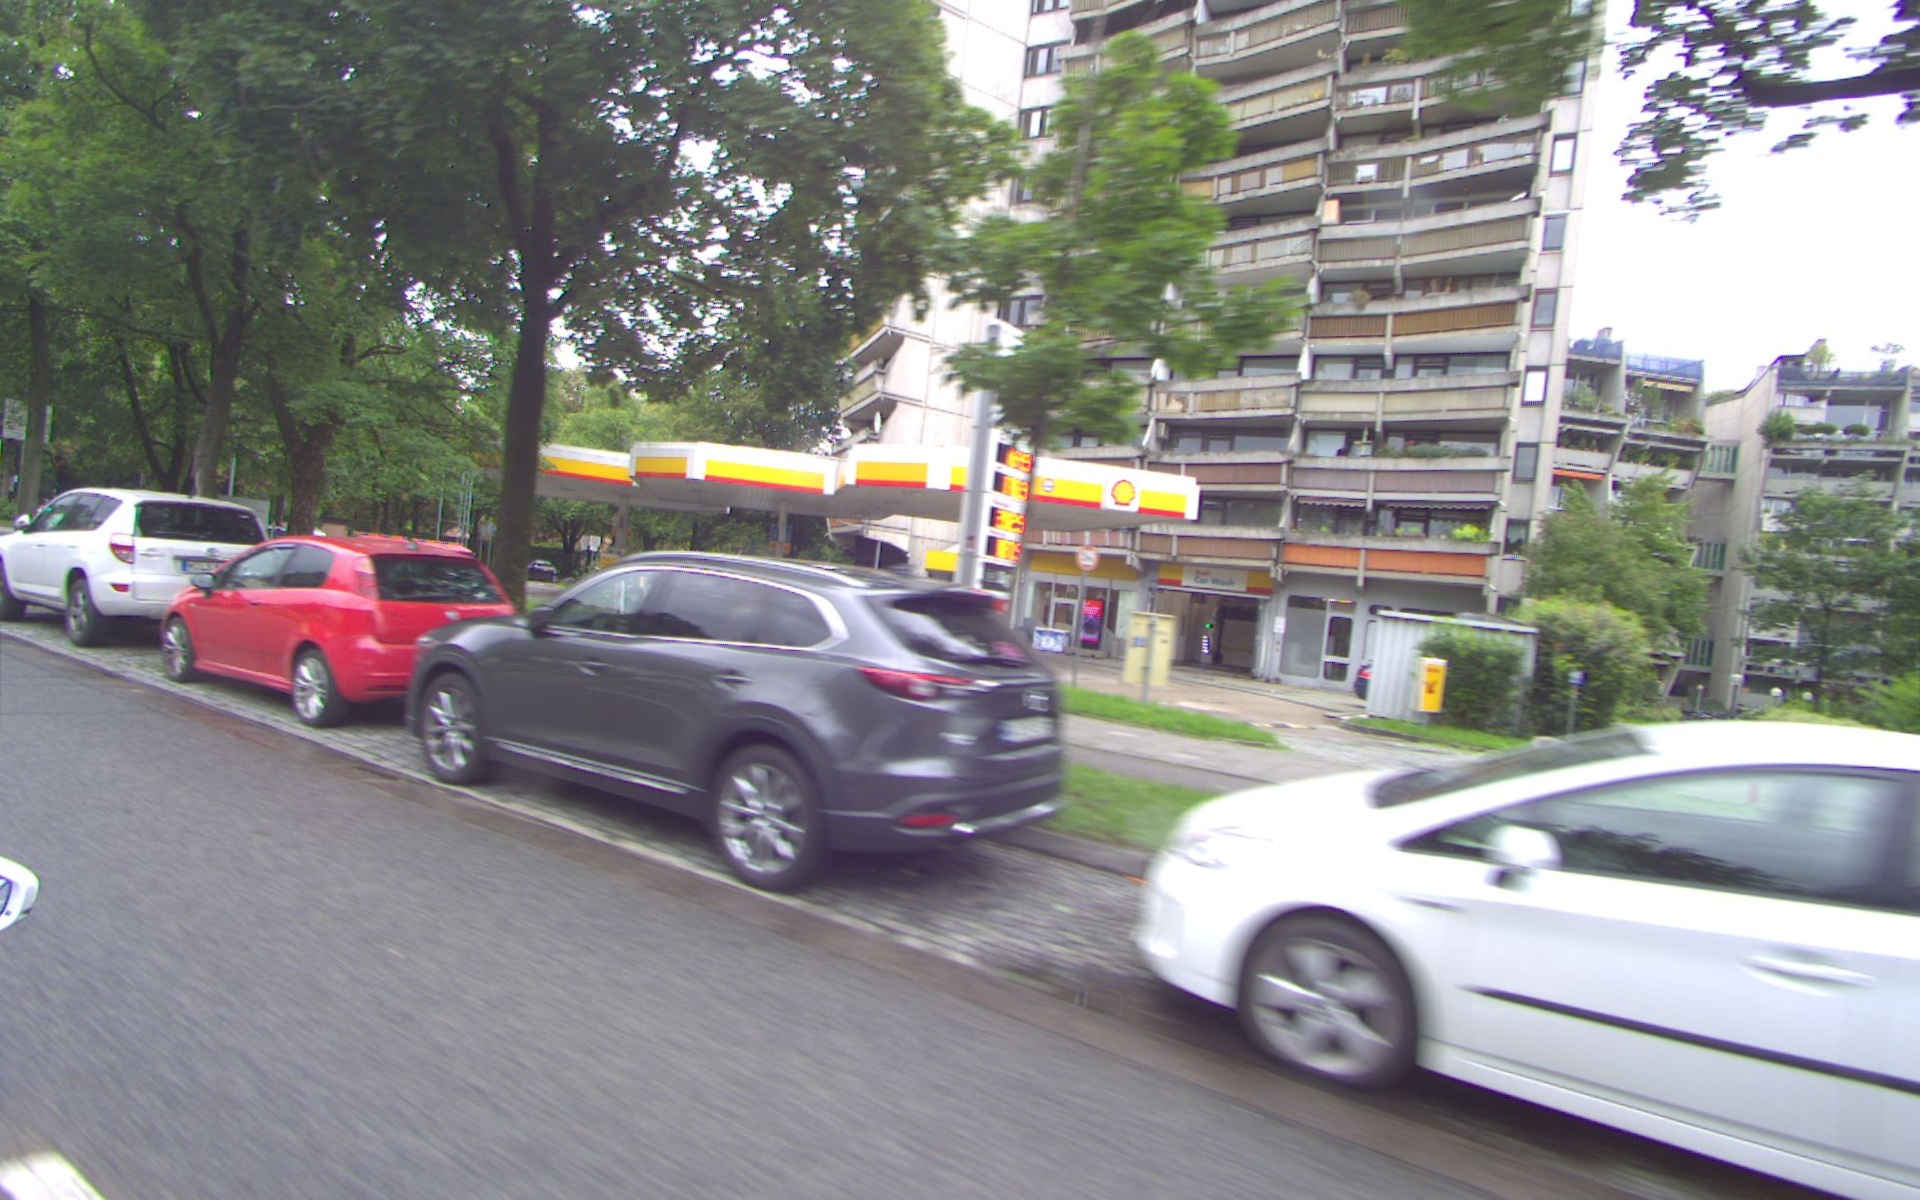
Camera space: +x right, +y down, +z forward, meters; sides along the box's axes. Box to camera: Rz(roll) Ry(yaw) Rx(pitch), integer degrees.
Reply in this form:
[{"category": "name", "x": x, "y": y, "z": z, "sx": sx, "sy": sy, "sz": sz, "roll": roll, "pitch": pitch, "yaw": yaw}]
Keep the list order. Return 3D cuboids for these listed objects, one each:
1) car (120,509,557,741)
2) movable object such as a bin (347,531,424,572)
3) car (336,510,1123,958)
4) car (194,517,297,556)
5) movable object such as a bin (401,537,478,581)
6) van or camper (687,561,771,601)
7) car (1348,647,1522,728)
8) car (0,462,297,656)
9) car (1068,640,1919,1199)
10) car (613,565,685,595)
[{"category": "car", "x": -5.850, "y": 0.127, "z": 9.351, "sx": 4.074, "sy": 1.527, "sz": 1.761, "roll": 7, "pitch": 2, "yaw": 31}, {"category": "movable object such as a bin", "x": -22.538, "y": -1.898, "z": 39.479, "sx": 1.506, "sy": 1.278, "sz": 2.062, "roll": 7, "pitch": 0, "yaw": 32}, {"category": "car", "x": -1.746, "y": 0.510, "z": 6.553, "sx": 5.143, "sy": 1.721, "sz": 1.761, "roll": 7, "pitch": 2, "yaw": 32}, {"category": "car", "x": -36.013, "y": -3.203, "z": 50.752, "sx": 1.903, "sy": 1.633, "sz": 3.871, "roll": 8, "pitch": 5, "yaw": 38}, {"category": "movable object such as a bin", "x": -21.398, "y": -1.682, "z": 41.388, "sx": 1.807, "sy": 1.505, "sz": 2.063, "roll": 7, "pitch": 0, "yaw": 32}, {"category": "van or camper", "x": -15.927, "y": -1.285, "z": 69.565, "sx": 2.522, "sy": 2.395, "sz": 5.077, "roll": 8, "pitch": 5, "yaw": 38}, {"category": "car", "x": 12.564, "y": 2.270, "z": 26.769, "sx": 3.929, "sy": 1.540, "sz": 1.889, "roll": 7, "pitch": 0, "yaw": 26}, {"category": "car", "x": -10.014, "y": -0.555, "z": 11.977, "sx": 4.453, "sy": 1.855, "sz": 1.761, "roll": 7, "pitch": 2, "yaw": 31}, {"category": "car", "x": 2.901, "y": 1.156, "z": 3.739, "sx": 4.556, "sy": 1.473, "sz": 1.761, "roll": 7, "pitch": 2, "yaw": 31}, {"category": "car", "x": -19.719, "y": -1.253, "z": 63.938, "sx": 1.742, "sy": 1.633, "sz": 4.021, "roll": 8, "pitch": 5, "yaw": 38}]
